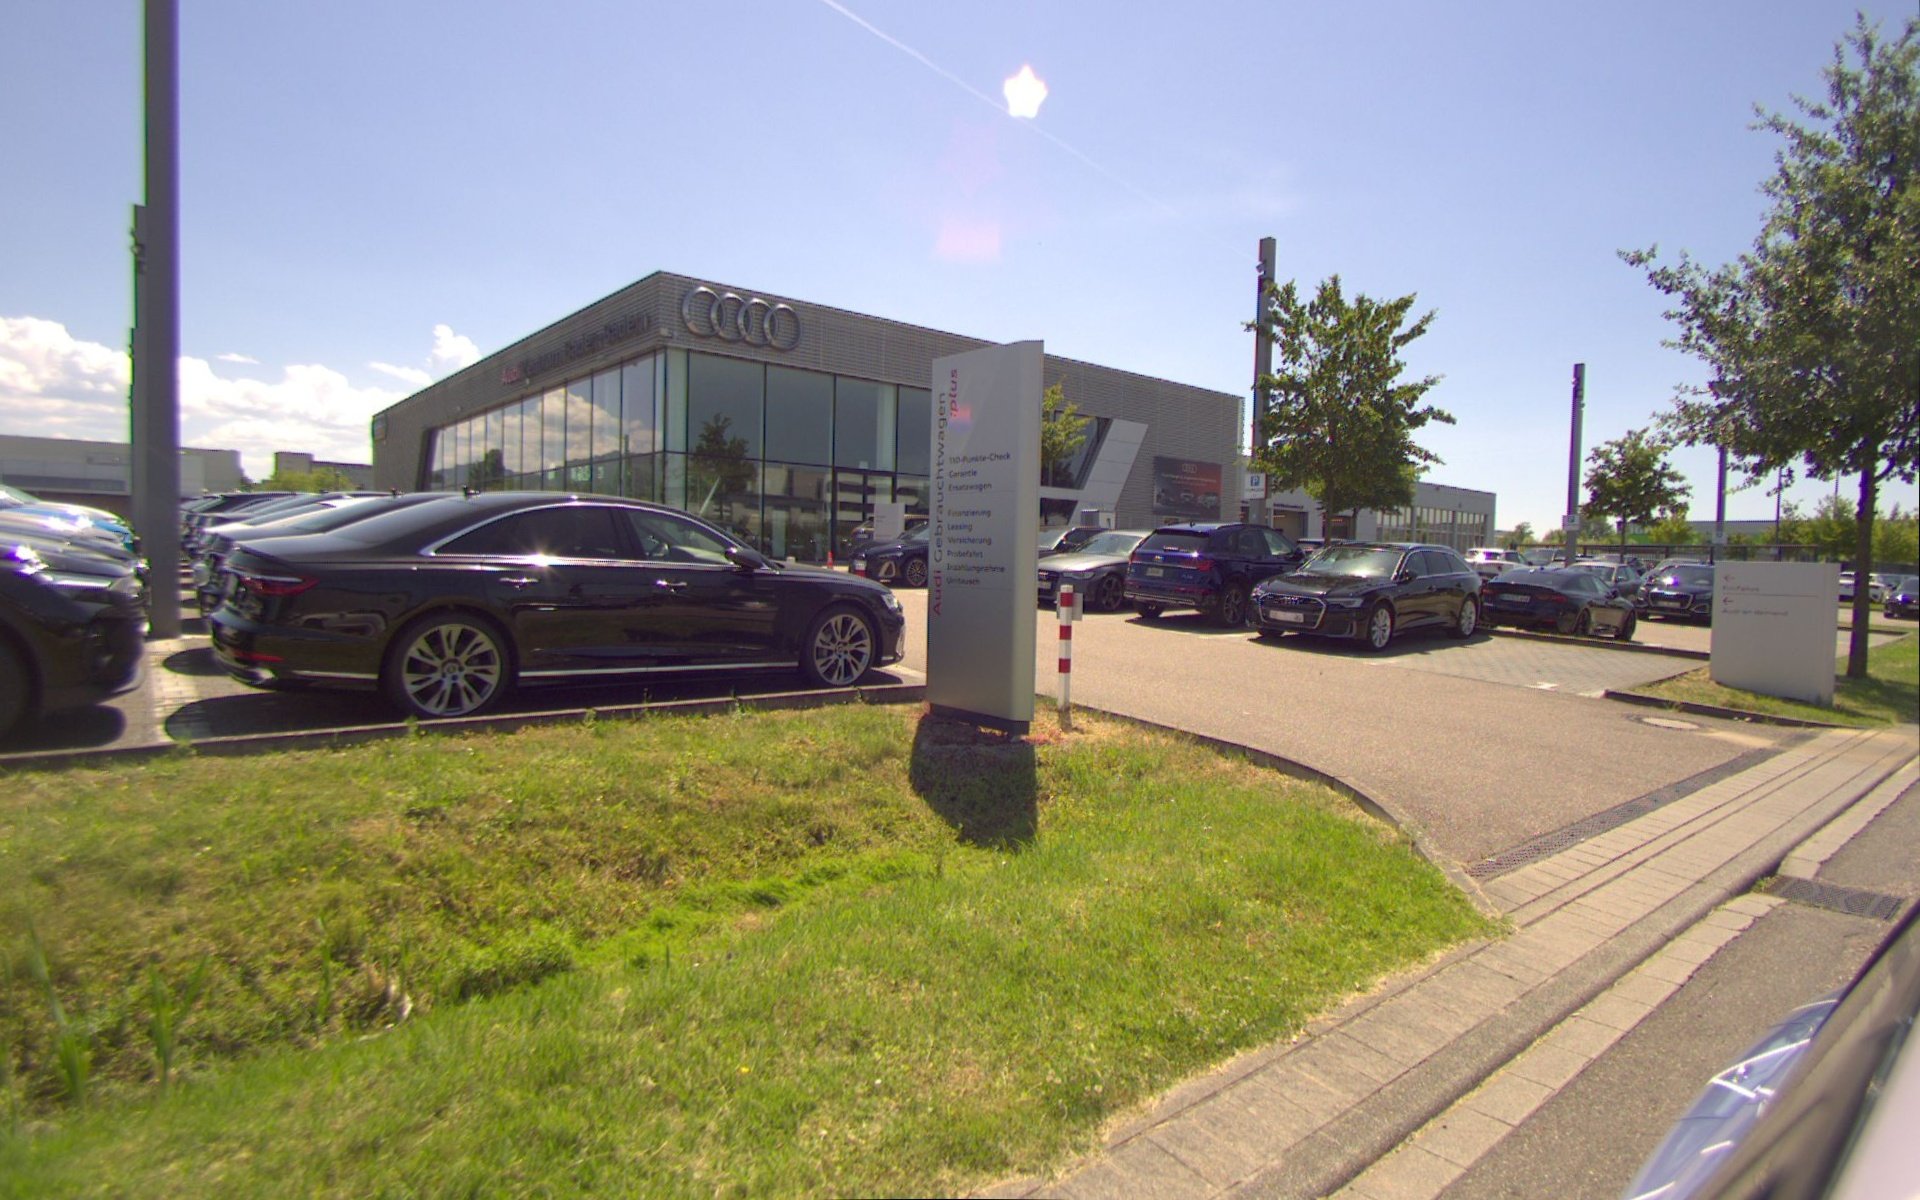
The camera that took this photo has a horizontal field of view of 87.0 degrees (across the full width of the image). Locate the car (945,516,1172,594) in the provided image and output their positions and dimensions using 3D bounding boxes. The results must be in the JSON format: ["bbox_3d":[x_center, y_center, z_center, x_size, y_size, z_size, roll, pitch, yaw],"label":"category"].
[{"bbox_3d":[2.192,-1.019,21.640,4.899,1.473,1.966,-3,6,-40],"label":"car"}]

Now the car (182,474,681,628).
[{"bbox_3d":[-6.141,-0.594,12.120,4.987,1.473,2.031,-1,6,-40],"label":"car"}]

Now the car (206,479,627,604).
[{"bbox_3d":[-7.598,-0.814,14.448,4.987,1.473,2.031,-1,6,-40],"label":"car"}]

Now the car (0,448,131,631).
[{"bbox_3d":[-10.207,-0.592,8.746,4.694,1.609,2.030,-1,4,-40],"label":"car"}]

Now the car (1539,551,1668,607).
[{"bbox_3d":[18.582,-0.627,29.159,4.154,1.382,1.966,-1,6,-41],"label":"car"}]

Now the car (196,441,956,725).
[{"bbox_3d":[-2.684,-0.213,7.880,5.146,1.532,2.031,-1,6,-40],"label":"car"}]

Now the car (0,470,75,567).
[{"bbox_3d":[-17.702,-1.415,16.613,4.694,1.609,2.030,-1,4,-40],"label":"car"}]

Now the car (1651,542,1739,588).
[{"bbox_3d":[30.409,-1.465,41.822,4.703,1.662,1.829,-2,7,-41],"label":"car"}]

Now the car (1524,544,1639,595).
[{"bbox_3d":[21.646,-1.057,35.169,4.919,1.571,1.966,-1,5,-41],"label":"car"}]

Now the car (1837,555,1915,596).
[{"bbox_3d":[38.977,-1.050,43.030,4.859,1.546,1.824,-1,5,-42],"label":"car"}]

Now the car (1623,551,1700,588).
[{"bbox_3d":[33.874,-1.469,48.820,4.546,1.649,1.966,-1,5,-41],"label":"car"}]

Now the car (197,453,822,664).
[{"bbox_3d":[-4.204,-0.428,10.100,5.379,1.591,1.902,-1,6,-40],"label":"car"}]

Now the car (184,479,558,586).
[{"bbox_3d":[-9.401,-1.029,16.413,4.987,1.474,2.030,-1,4,-40],"label":"car"}]

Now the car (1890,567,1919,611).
[{"bbox_3d":[35.051,-0.349,36.300,4.937,1.472,1.884,-1,5,-42],"label":"car"}]

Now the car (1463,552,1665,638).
[{"bbox_3d":[12.004,-0.092,20.005,4.637,1.382,1.967,1,5,-41],"label":"car"}]

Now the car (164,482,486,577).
[{"bbox_3d":[-11.578,-1.263,18.641,4.816,1.473,2.031,-1,6,-40],"label":"car"}]

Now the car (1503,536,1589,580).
[{"bbox_3d":[26.811,-1.909,46.256,4.546,1.762,1.966,-1,6,-41],"label":"car"}]

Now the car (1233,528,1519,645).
[{"bbox_3d":[6.452,-0.331,15.416,4.899,1.473,1.966,-3,6,-40],"label":"car"}]

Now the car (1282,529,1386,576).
[{"bbox_3d":[15.374,-1.936,41.526,4.647,1.759,1.966,-1,5,-41],"label":"car"}]

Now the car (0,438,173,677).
[{"bbox_3d":[-8.182,-0.341,6.665,4.694,1.609,2.030,-1,4,-40],"label":"car"}]

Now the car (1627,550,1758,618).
[{"bbox_3d":[19.862,-0.450,27.395,4.154,1.589,1.892,-1,6,-41],"label":"car"}]

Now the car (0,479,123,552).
[{"bbox_3d":[-22.423,-1.994,23.411,4.694,1.609,2.030,-1,4,-40],"label":"car"}]

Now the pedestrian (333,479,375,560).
[{"bbox_3d":[-13.252,-1.747,22.134,0.626,1.716,0.712,3,0,-40],"label":"pedestrian"}]

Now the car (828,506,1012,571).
[{"bbox_3d":[-1.021,-1.716,27.722,4.899,1.639,1.966,-3,6,-40],"label":"car"}]

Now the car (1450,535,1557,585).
[{"bbox_3d":[19.703,-1.441,36.629,4.214,1.632,1.966,-1,5,-41],"label":"car"}]

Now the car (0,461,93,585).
[{"bbox_3d":[-14.183,-1.051,12.913,4.694,1.609,2.030,-1,4,-40],"label":"car"}]

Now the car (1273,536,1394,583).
[{"bbox_3d":[12.875,-1.371,34.775,4.389,1.382,1.966,-1,6,-41],"label":"car"}]

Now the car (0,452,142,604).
[{"bbox_3d":[-11.722,-0.826,10.759,4.694,1.609,2.030,-1,4,-40],"label":"car"}]

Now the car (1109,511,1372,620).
[{"bbox_3d":[4.960,-0.686,17.544,4.899,1.616,1.966,-3,6,-40],"label":"car"}]

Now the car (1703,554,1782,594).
[{"bbox_3d":[35.955,-1.180,46.476,4.546,1.649,1.966,-1,5,-41],"label":"car"}]

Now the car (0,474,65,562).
[{"bbox_3d":[-19.634,-1.590,18.596,4.694,1.609,2.030,-1,4,-40],"label":"car"}]

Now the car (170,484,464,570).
[{"bbox_3d":[-12.920,-1.450,20.497,4.816,1.473,2.031,-1,6,-40],"label":"car"}]

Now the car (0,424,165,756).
[{"bbox_3d":[-6.556,-0.099,4.519,4.694,1.592,2.030,-1,4,-40],"label":"car"}]

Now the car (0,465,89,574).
[{"bbox_3d":[-15.975,-1.261,14.927,4.695,1.609,2.030,-1,4,-40],"label":"car"}]

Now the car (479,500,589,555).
[{"bbox_3d":[-13.139,-2.288,31.486,1.929,1.573,4.066,1,5,-4],"label":"car"}]

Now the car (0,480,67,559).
[{"bbox_3d":[-21.296,-1.709,20.517,4.694,1.609,2.030,-1,4,-40],"label":"car"}]

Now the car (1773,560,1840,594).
[{"bbox_3d":[44.845,-1.235,53.578,4.546,1.649,1.966,-1,5,-41],"label":"car"}]

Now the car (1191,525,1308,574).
[{"bbox_3d":[10.878,-1.875,37.943,4.347,1.610,1.968,0,6,-38],"label":"car"}]

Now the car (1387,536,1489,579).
[{"bbox_3d":[18.570,-1.638,39.214,4.297,1.494,1.966,-1,5,-41],"label":"car"}]

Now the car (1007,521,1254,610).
[{"bbox_3d":[3.360,-0.745,19.374,4.899,1.473,1.966,-3,6,-40],"label":"car"}]
